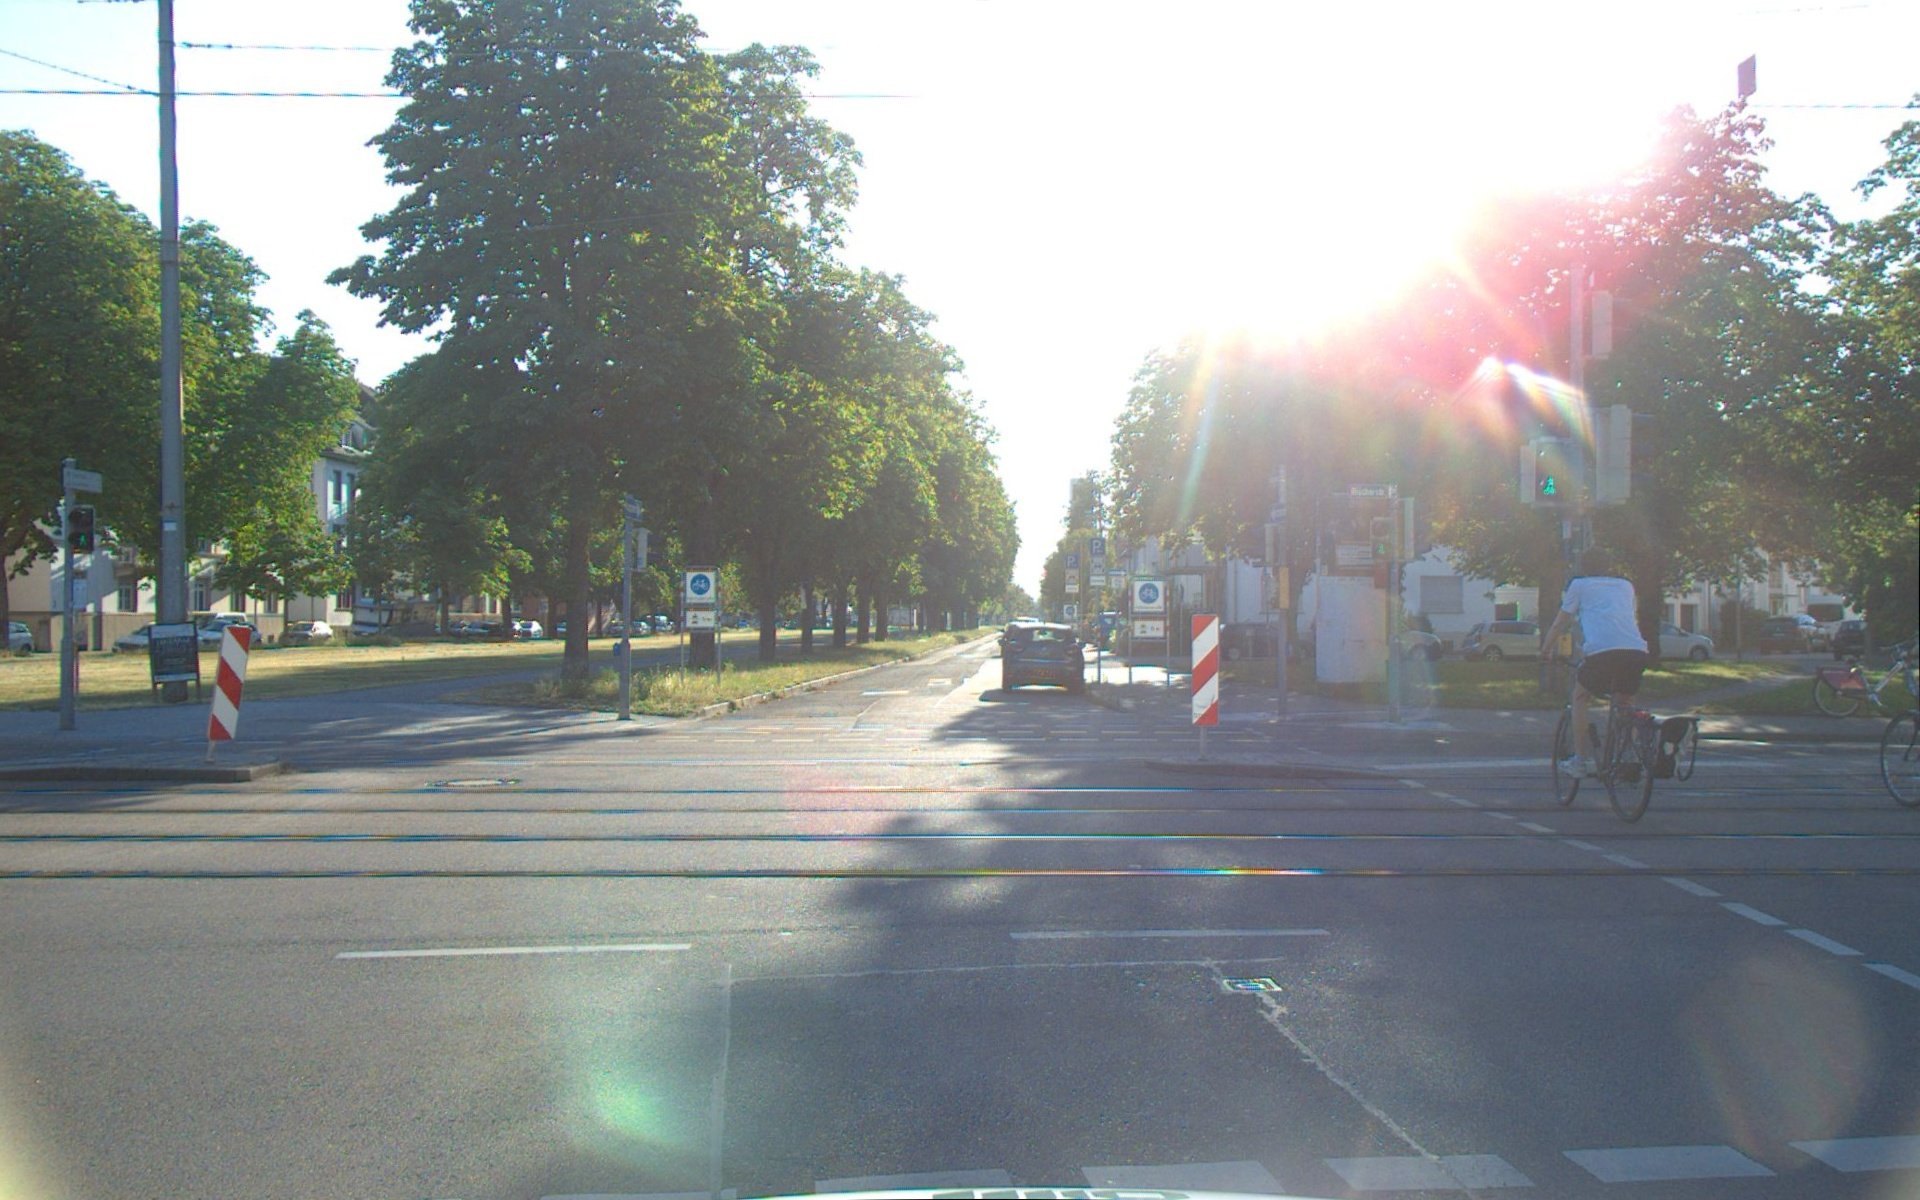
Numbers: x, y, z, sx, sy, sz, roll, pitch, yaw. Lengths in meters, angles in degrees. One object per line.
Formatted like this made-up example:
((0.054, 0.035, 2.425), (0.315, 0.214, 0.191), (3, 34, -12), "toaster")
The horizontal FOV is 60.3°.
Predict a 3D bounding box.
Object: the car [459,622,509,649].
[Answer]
((-31.697, 2.394, 110.192), (1.840, 1.703, 4.316), (2, -1, 3), "car")

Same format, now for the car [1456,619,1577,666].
((18.527, 1.416, 55.180), (3.482, 1.542, 1.604), (0, -1, -3), "car")

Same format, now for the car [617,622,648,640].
((-33.122, 3.136, 167.355), (1.952, 1.688, 4.357), (2, -1, 4), "car")

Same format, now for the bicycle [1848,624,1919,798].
((7.158, 0.833, 11.713), (0.481, 1.204, 1.962), (2, 2, -5), "bicycle")

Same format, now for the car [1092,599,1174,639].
((8.794, 0.965, 84.246), (3.906, 1.854, 1.759), (0, -6, -2), "car")

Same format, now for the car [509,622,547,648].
((-35.831, 2.919, 137.299), (1.952, 2.049, 4.000), (2, -2, 1), "car")

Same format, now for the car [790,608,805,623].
((-24.275, 2.340, 247.348), (1.620, 1.972, 3.568), (2, -3, 2), "car")

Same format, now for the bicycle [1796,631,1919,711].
((12.597, 0.986, 23.182), (1.489, 1.108, 0.467), (0, -2, 10), "bicycle")

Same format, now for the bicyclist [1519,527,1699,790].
((4.574, 0.412, 11.704), (0.800, 1.762, 0.891), (2, -2, -12), "bicyclist")

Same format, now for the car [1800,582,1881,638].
((41.182, 0.482, 77.319), (4.484, 2.378, 2.079), (4, -2, -44), "car")

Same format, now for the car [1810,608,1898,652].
((33.127, 1.081, 61.232), (1.965, 1.579, 3.974), (-1, -1, 43), "car")

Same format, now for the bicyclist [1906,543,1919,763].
((7.288, 0.385, 11.668), (0.697, 1.590, 0.894), (2, -2, 1), "bicyclist")

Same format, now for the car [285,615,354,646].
((-37.526, 1.788, 97.007), (1.952, 1.688, 4.572), (2, -1, 4), "car")

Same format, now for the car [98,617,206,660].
((-33.801, 1.622, 69.306), (1.952, 1.688, 4.572), (2, -1, 4), "car")

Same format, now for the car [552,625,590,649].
((-30.701, 2.925, 130.616), (1.773, 1.812, 4.123), (2, -1, 3), "car")

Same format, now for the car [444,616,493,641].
((-35.916, 2.096, 120.936), (1.952, 1.688, 4.376), (2, -1, 4), "car")

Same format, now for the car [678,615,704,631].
((-29.383, 2.507, 181.049), (1.952, 1.688, 4.571), (0, -1, 2), "car")

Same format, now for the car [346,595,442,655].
((-32.333, 1.415, 94.818), (2.342, 3.185, 7.855), (3, -1, 3), "car")

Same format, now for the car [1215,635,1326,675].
((11.701, 2.064, 62.416), (3.904, 1.472, 1.716), (0, -2, 2), "car")

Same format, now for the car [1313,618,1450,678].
((14.175, 1.609, 55.820), (4.153, 1.908, 2.031), (1, -2, 2), "car")

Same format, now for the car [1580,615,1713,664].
((22.997, 1.349, 55.494), (3.842, 1.550, 1.523), (1, -2, -3), "car")

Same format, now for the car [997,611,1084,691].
((1.781, 1.083, 35.541), (1.689, 1.537, 4.542), (2, -1, 4), "car")

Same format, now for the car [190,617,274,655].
((-33.177, 1.596, 75.469), (1.759, 1.581, 4.419), (2, 0, 1), "car")

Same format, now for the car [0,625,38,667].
((-39.340, 1.830, 66.590), (1.952, 1.688, 4.001), (2, -1, 4), "car")

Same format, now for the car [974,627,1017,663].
((1.522, 1.880, 69.355), (1.674, 1.383, 4.204), (2, -1, 3), "car")

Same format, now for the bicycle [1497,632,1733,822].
((4.576, 0.851, 11.711), (0.562, 1.204, 1.899), (2, -1, -13), "bicycle")

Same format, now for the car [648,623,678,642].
((-28.923, 3.169, 161.325), (1.980, 1.688, 3.985), (2, -1, 3), "car")
